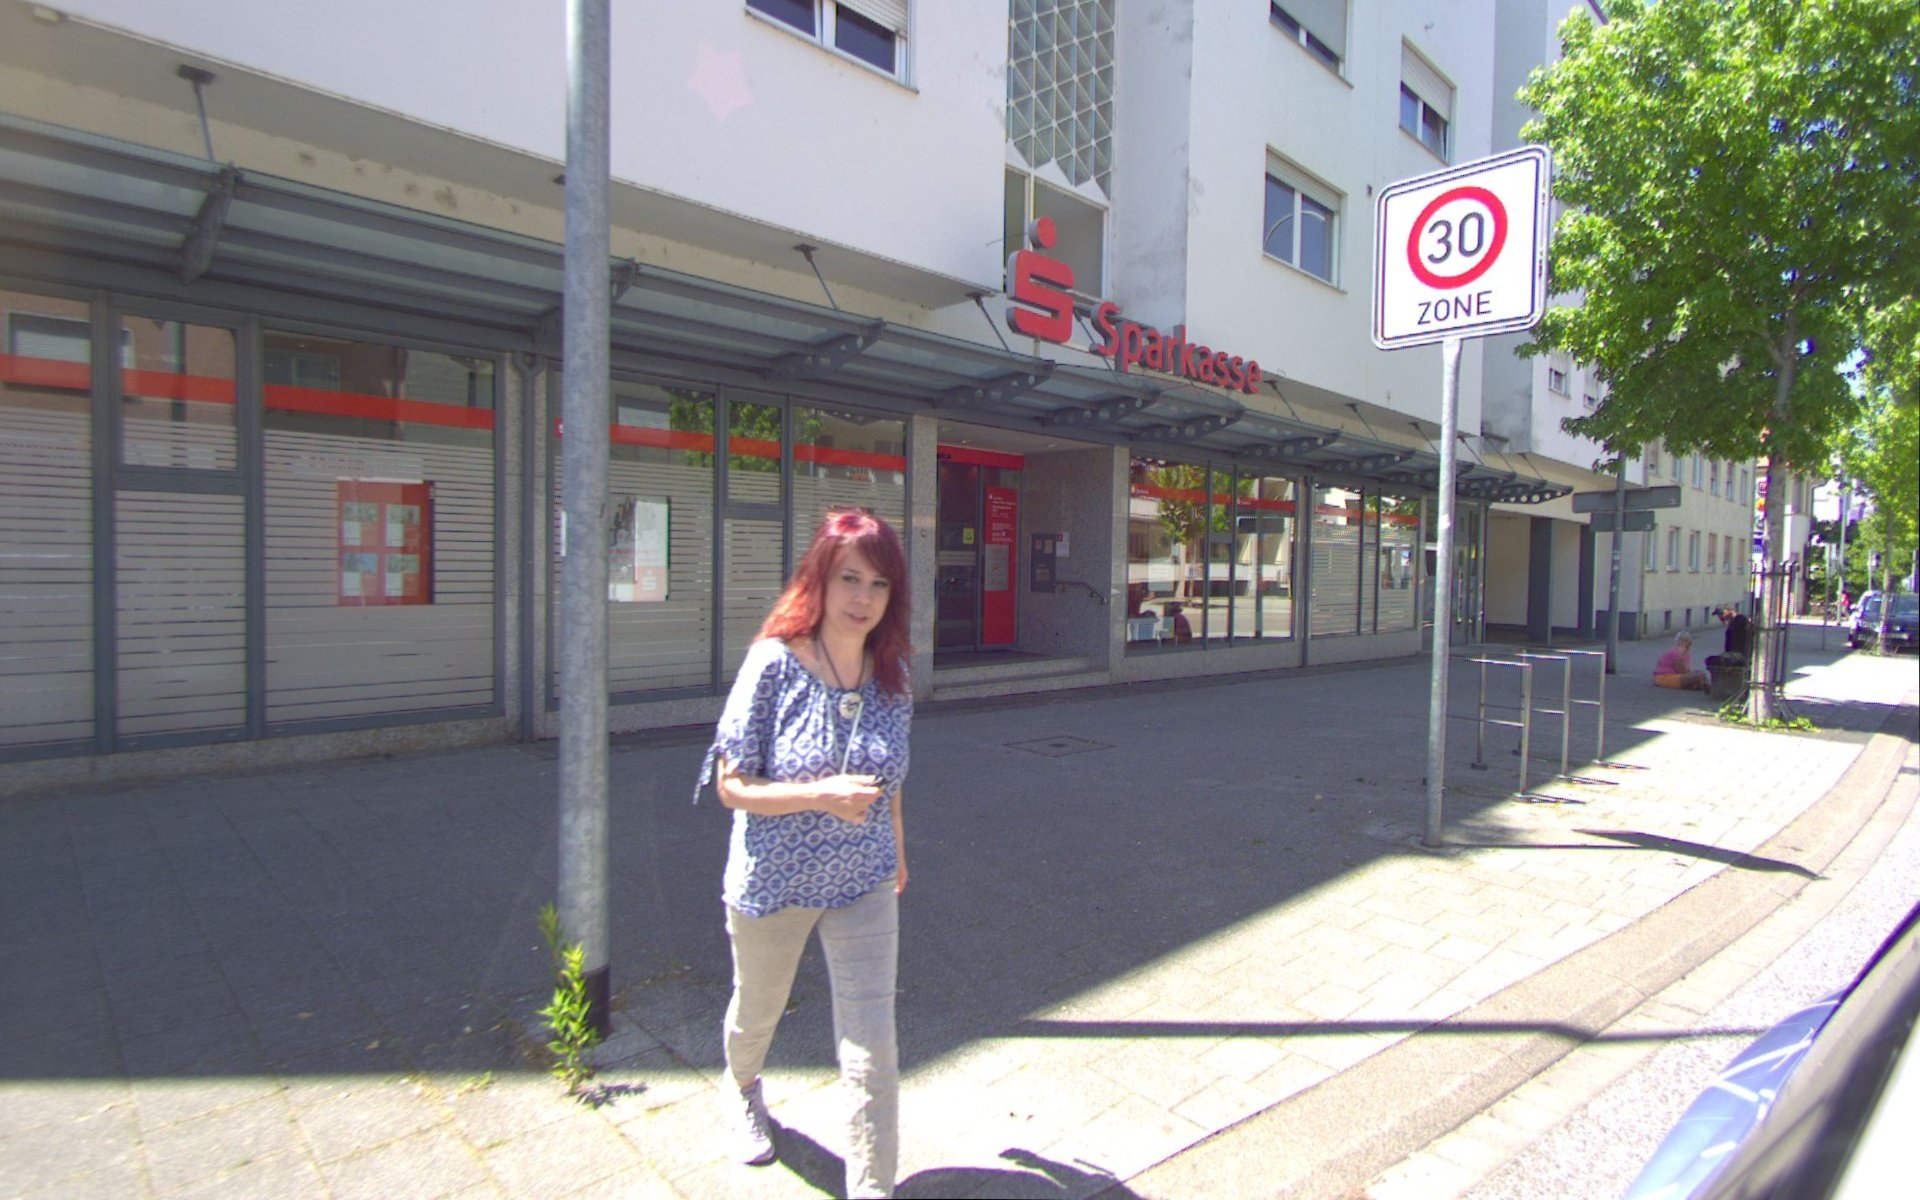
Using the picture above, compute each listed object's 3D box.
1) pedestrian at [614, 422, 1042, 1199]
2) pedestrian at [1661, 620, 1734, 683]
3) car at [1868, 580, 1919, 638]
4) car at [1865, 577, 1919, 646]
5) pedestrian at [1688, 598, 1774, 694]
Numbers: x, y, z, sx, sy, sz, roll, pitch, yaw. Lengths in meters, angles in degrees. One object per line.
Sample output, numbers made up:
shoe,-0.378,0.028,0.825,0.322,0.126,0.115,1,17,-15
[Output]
pedestrian,-0.302,0.503,2.144,0.550,1.630,0.733,0,2,-42
pedestrian,10.937,0.755,15.020,0.527,0.862,0.681,0,3,-29
car,30.498,0.247,32.654,1.688,1.743,4.070,3,2,43
car,26.669,0.311,28.430,1.689,1.742,3.939,6,4,42
pedestrian,10.748,0.617,14.116,0.527,1.255,0.764,0,2,-29
